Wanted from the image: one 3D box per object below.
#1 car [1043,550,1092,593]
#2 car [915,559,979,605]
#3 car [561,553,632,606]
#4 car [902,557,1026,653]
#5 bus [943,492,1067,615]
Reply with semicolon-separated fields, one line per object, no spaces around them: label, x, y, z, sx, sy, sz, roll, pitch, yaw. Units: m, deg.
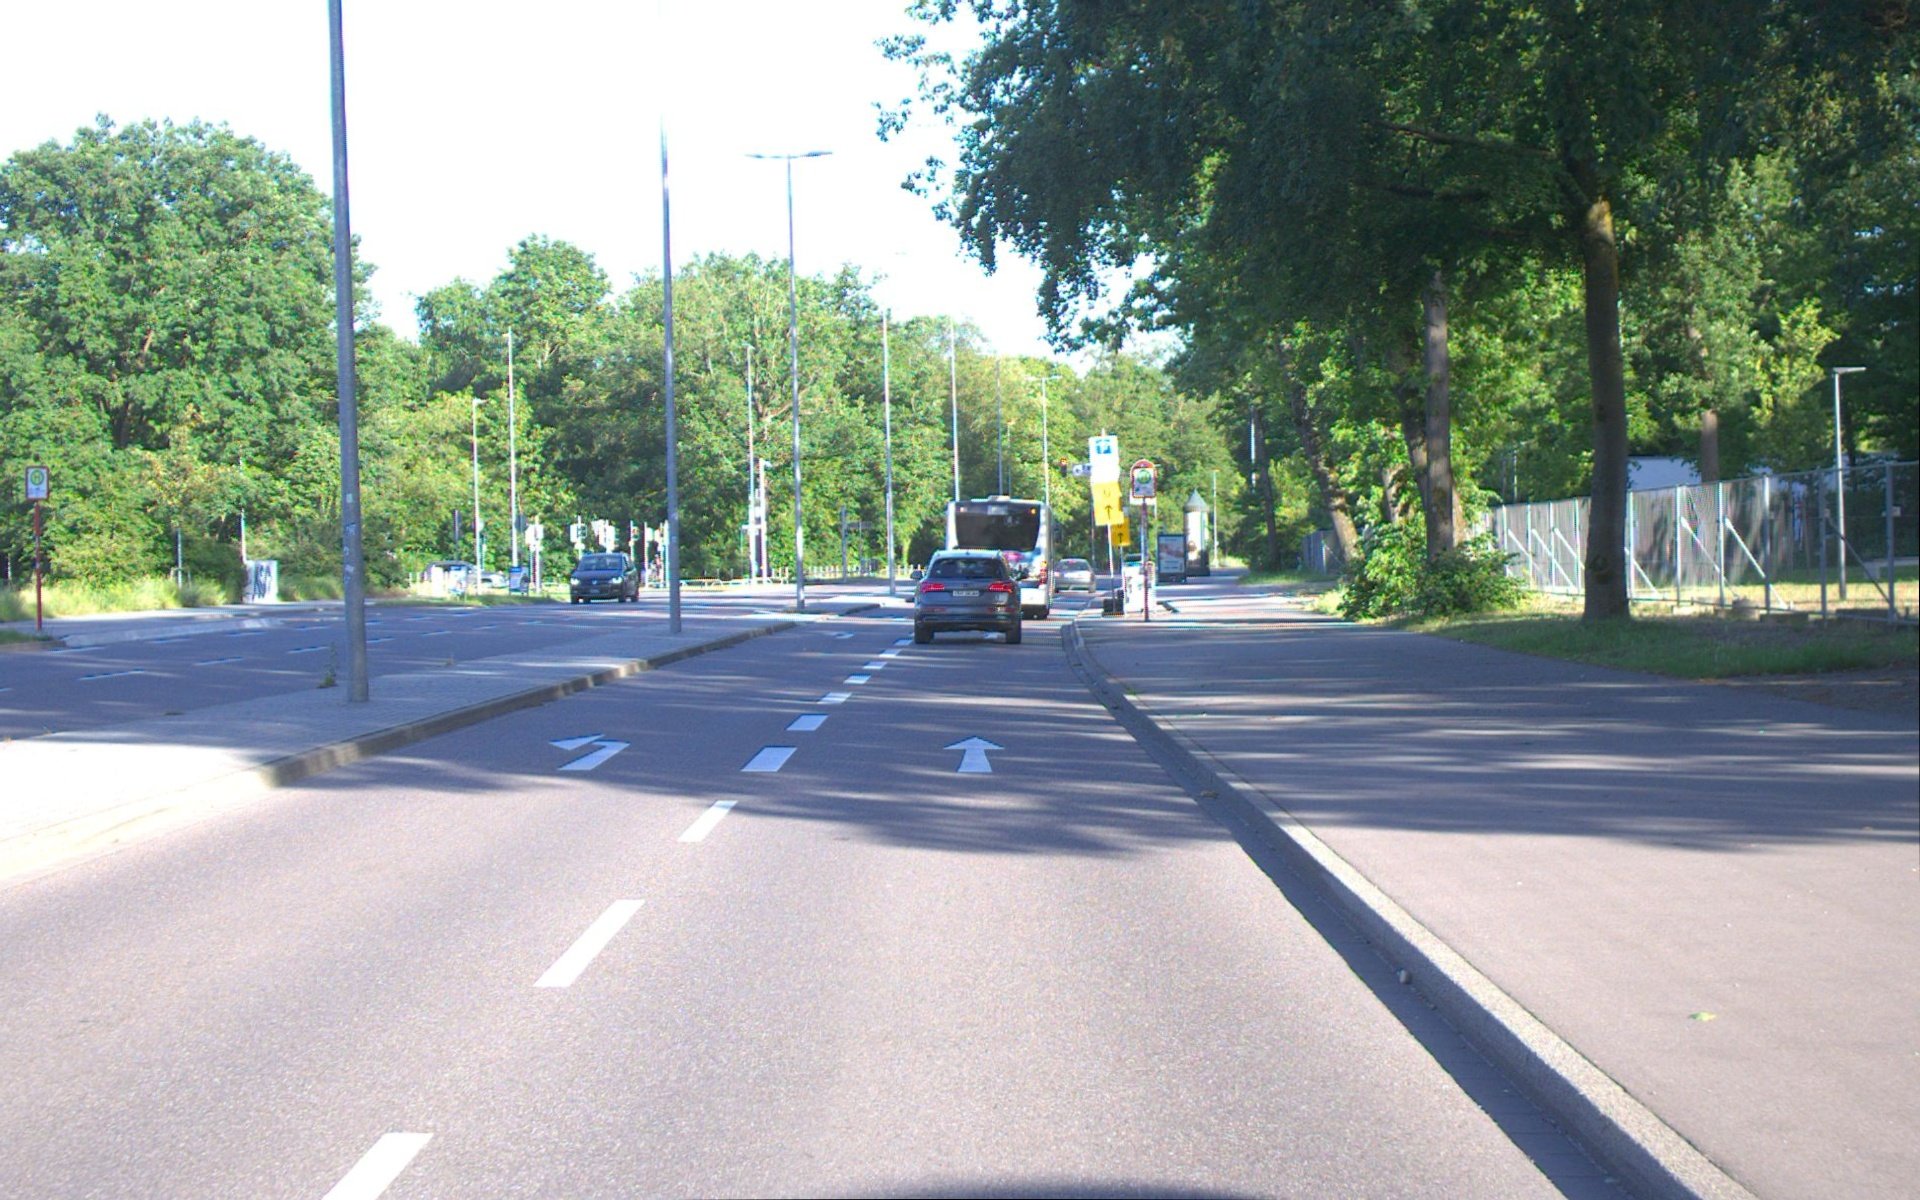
car;4.429;-1.153;140.866;1.910;1.722;4.578;1;0;3
car;-0.407;-0.611;115.287;1.836;1.513;3.999;0;1;4
car;-12.138;-0.699;114.952;1.783;1.686;4.702;1;1;1
car;0.108;0.068;61.310;1.899;1.626;3.999;1;1;4
bus;1.244;-1.134;88.087;2.595;2.979;9.325;1;0;4
